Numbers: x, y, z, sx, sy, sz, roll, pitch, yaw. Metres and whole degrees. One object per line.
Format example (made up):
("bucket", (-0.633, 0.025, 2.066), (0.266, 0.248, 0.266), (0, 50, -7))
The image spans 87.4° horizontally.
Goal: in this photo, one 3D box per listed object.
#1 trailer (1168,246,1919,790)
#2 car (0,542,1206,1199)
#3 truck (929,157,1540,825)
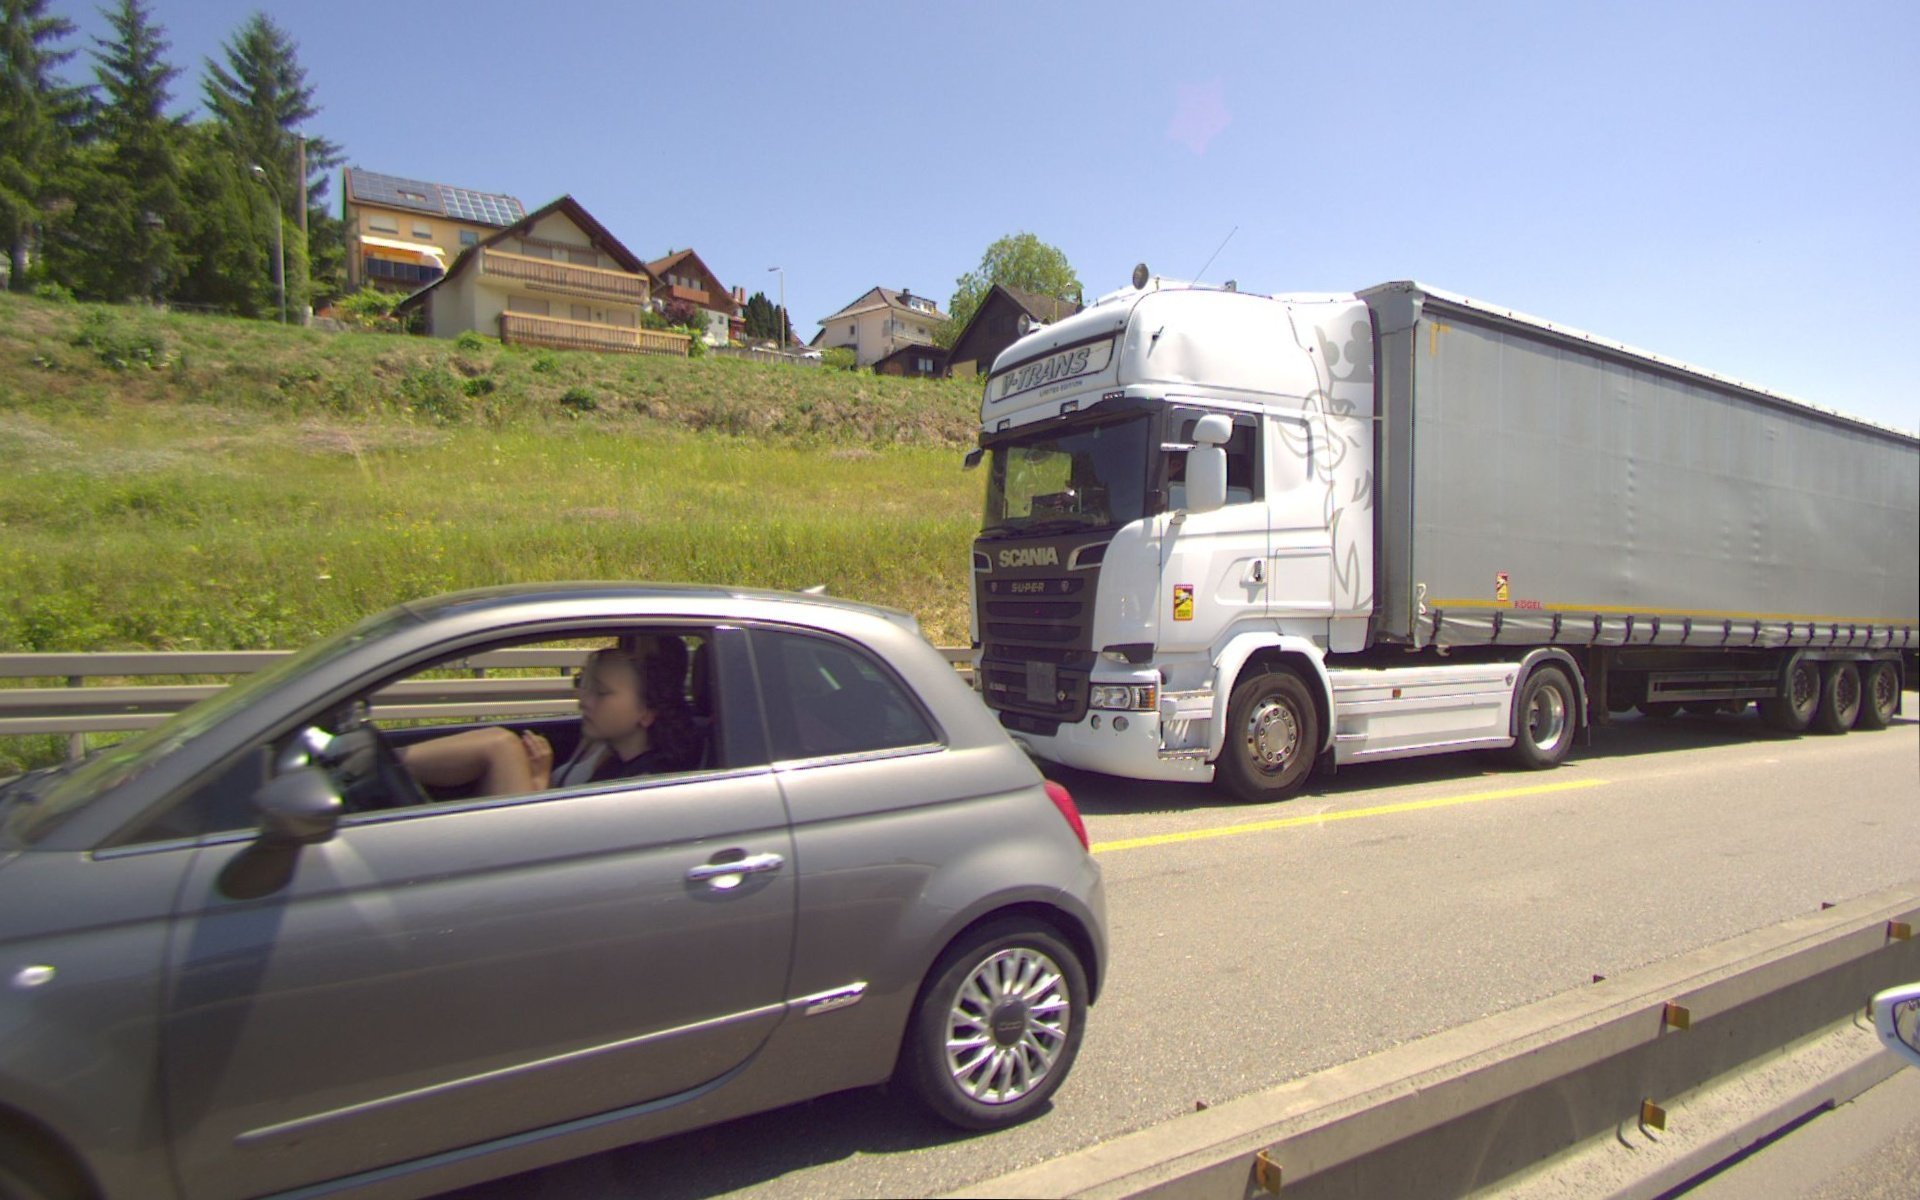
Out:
("trailer", (8.847, -0.548, 12.820), (13.873, 4.344, 2.796), (1, 0, -31))
("car", (-1.101, 0.660, 2.897), (3.341, 1.499, 1.620), (1, 0, -31))
("truck", (2.435, -0.683, 8.932), (4.622, 4.344, 2.760), (1, 1, -31))
